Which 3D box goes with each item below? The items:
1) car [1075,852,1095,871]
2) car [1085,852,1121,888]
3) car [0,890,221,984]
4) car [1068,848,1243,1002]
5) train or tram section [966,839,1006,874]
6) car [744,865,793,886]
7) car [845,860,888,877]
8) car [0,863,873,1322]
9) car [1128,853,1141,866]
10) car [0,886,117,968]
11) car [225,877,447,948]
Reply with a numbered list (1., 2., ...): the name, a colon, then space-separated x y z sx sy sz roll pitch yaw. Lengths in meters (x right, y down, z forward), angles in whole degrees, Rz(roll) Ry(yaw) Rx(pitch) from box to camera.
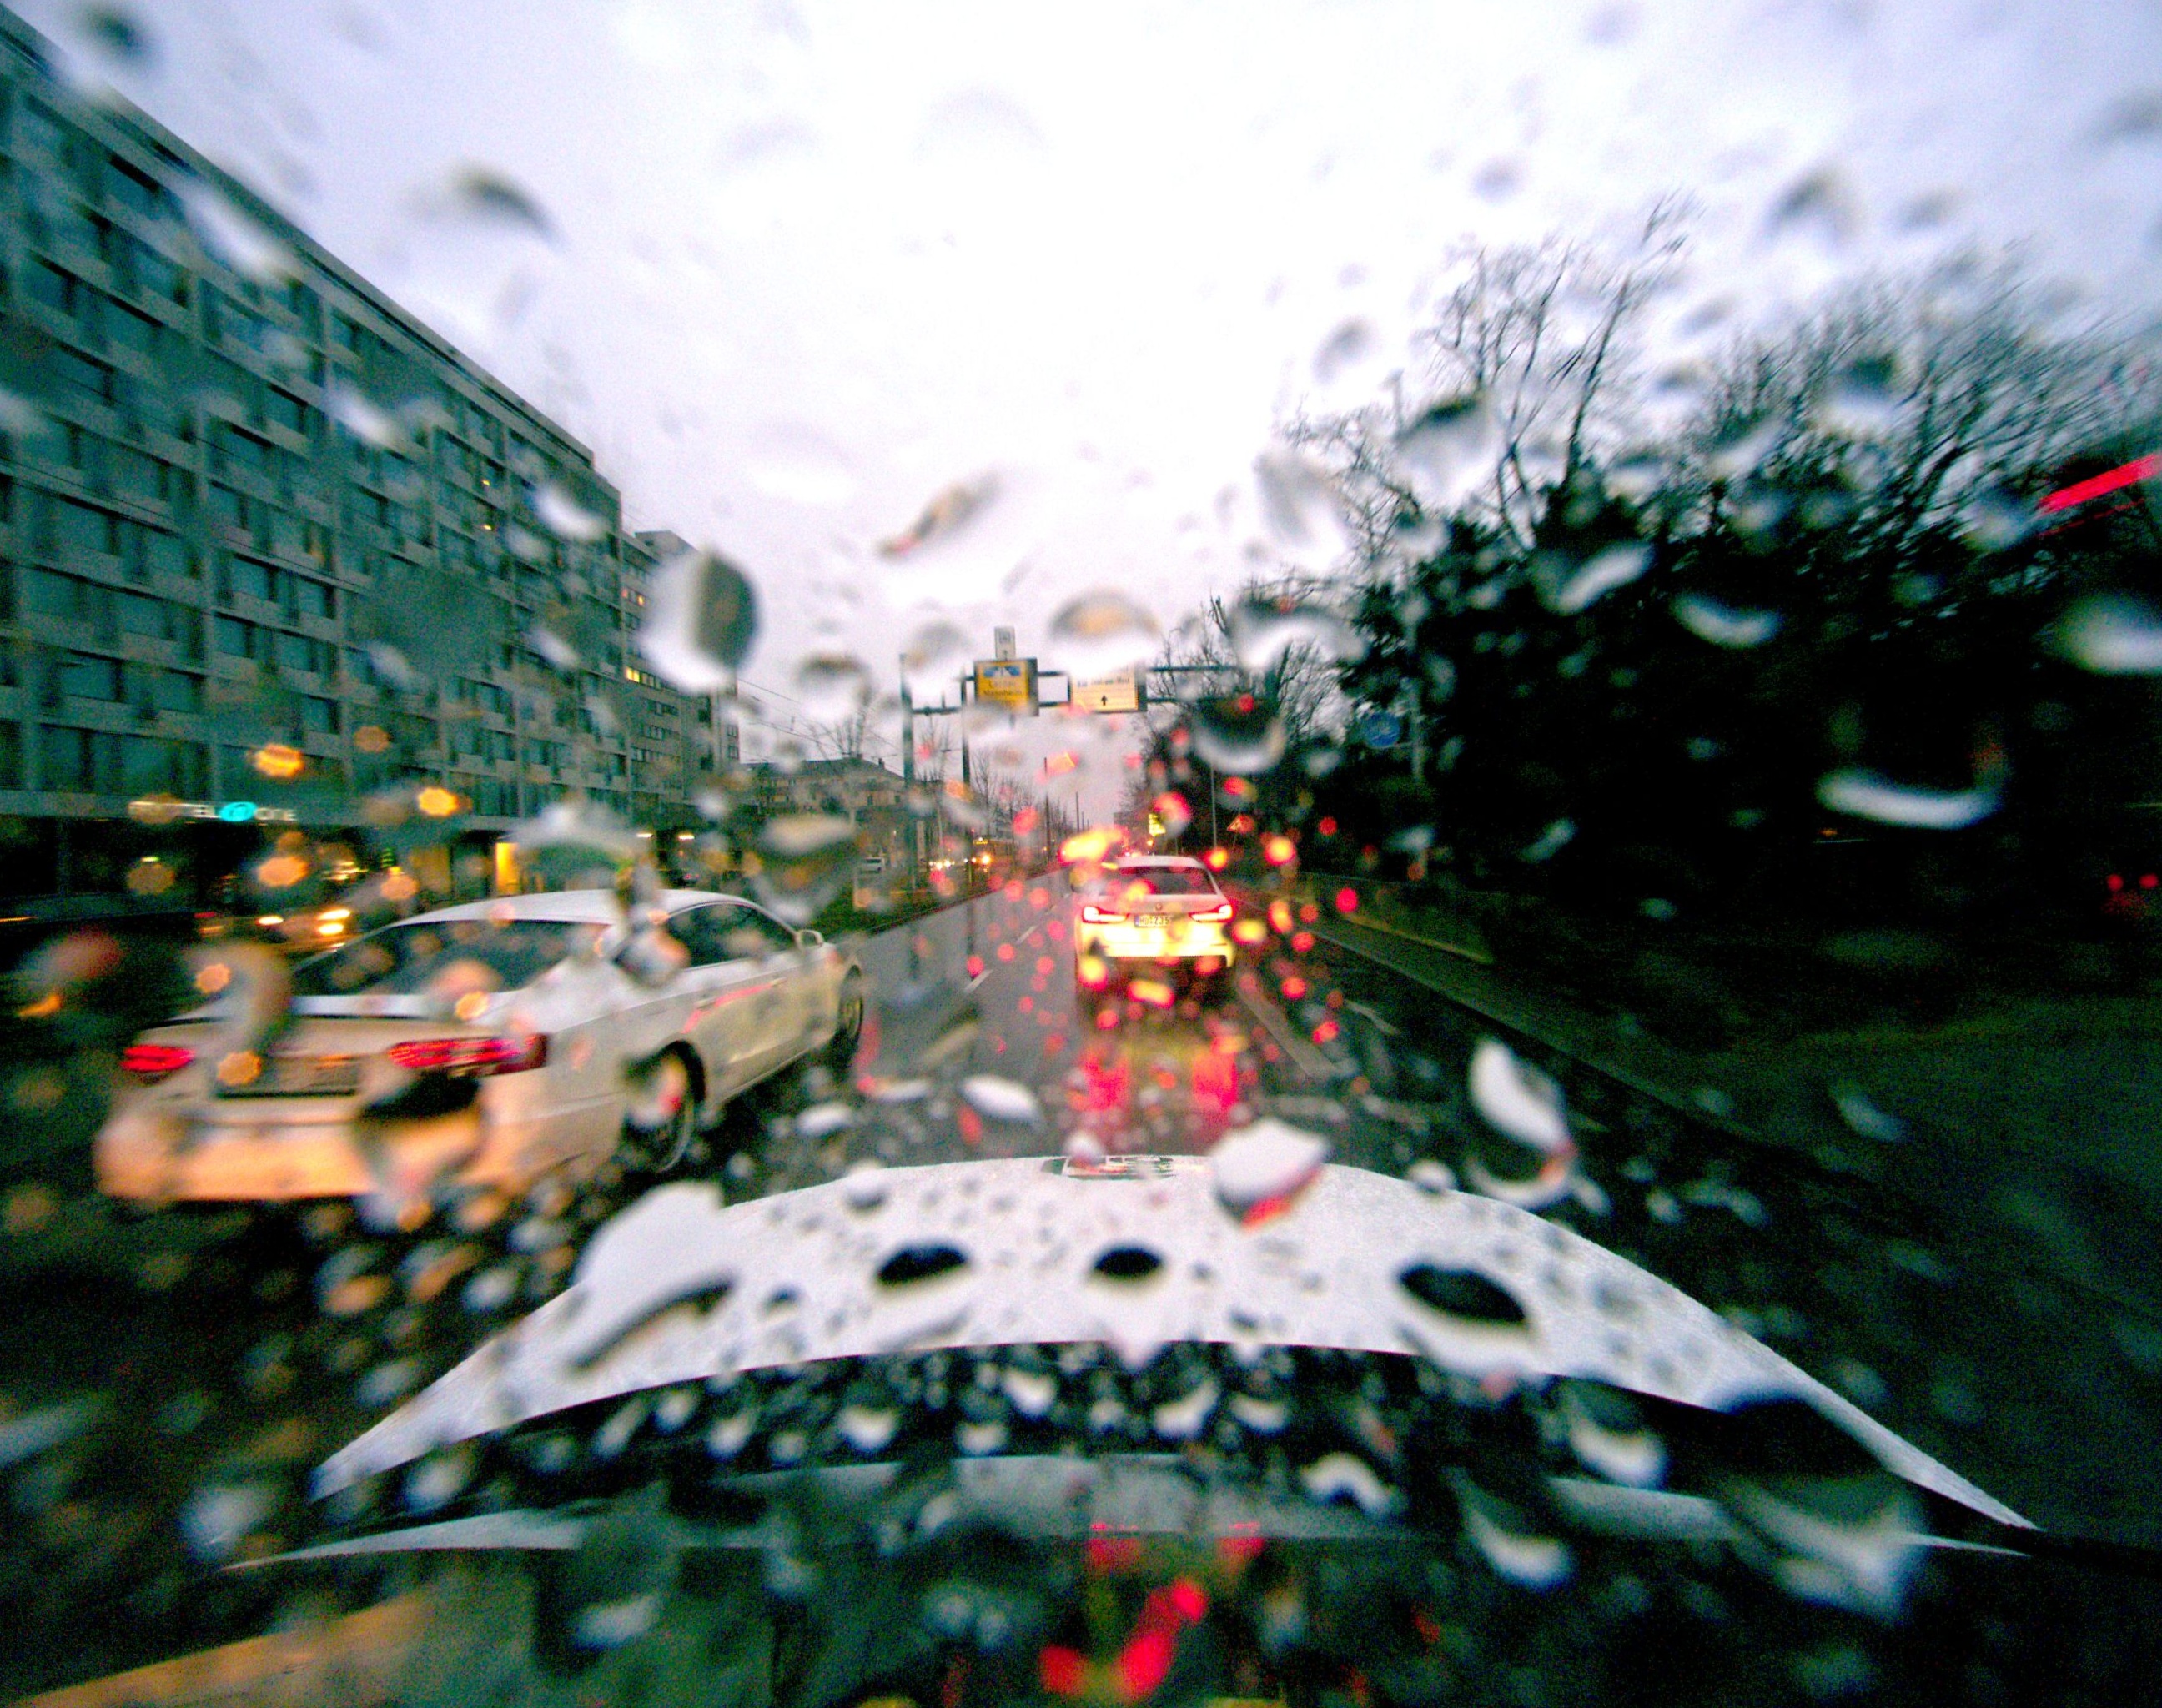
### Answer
1. car: 0.475 0.824 89.805 1.986 2.013 4.002 -1 0 2
2. car: 1.320 0.890 48.185 1.986 2.013 4.002 -1 0 2
3. car: -19.472 1.514 14.864 1.986 1.462 5.097 -1 0 2
4. car: 0.741 0.729 10.536 1.755 1.552 4.249 -1 0 -2
5. train or tram section: -10.288 0.248 89.198 2.831 3.504 9.162 -3 0 2
6. car: -29.192 2.001 76.220 3.839 1.797 1.887 -2 0 -39
7. car: -27.604 1.889 105.050 4.909 2.013 1.977 -2 0 -40
8. car: -2.726 0.832 4.874 1.753 1.469 4.252 -1 0 1
9. car: 8.603 0.827 131.673 1.986 2.013 4.002 -1 0 2
10. car: -25.646 1.727 18.709 1.873 1.789 4.180 -1 0 4
11. car: -19.306 1.432 21.508 1.995 1.462 5.073 -1 0 -12
